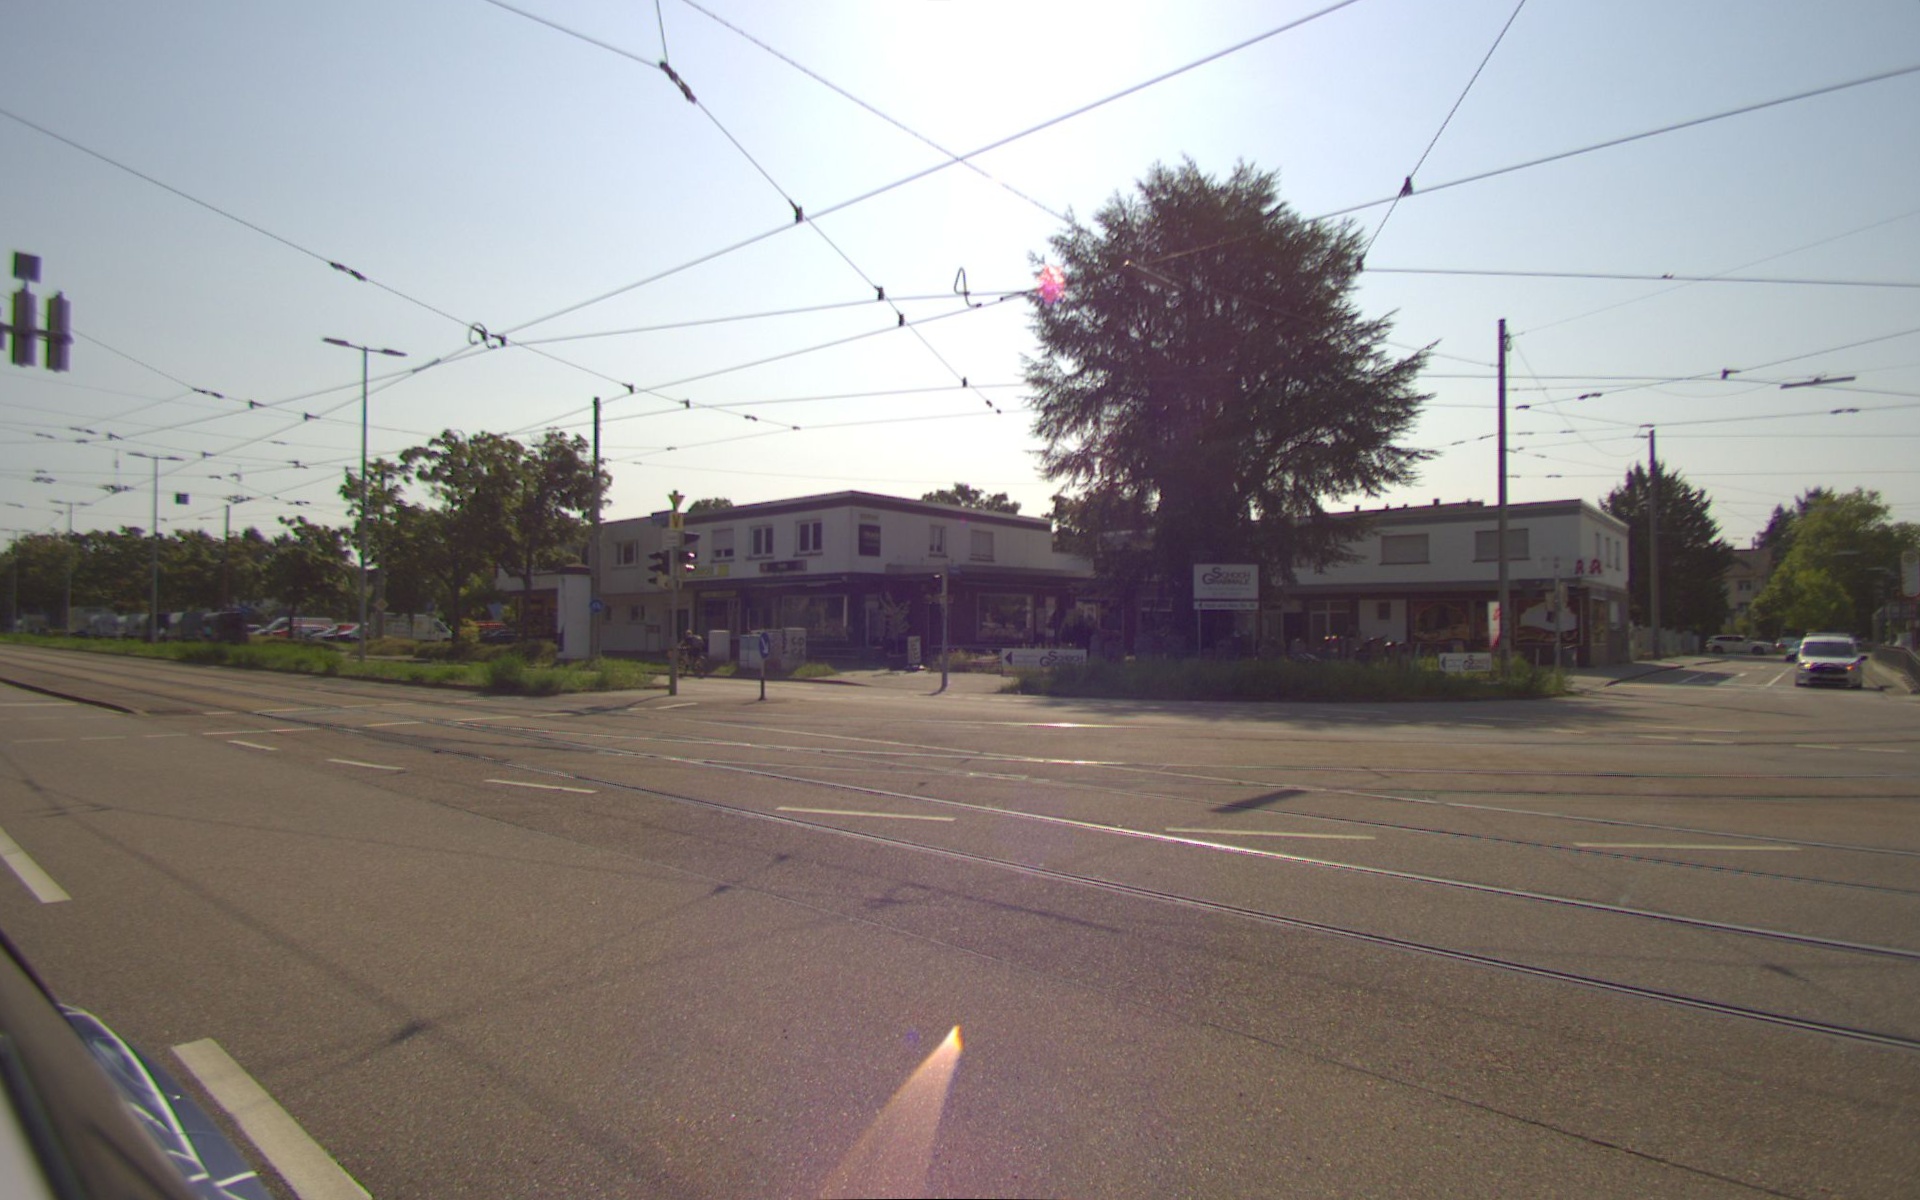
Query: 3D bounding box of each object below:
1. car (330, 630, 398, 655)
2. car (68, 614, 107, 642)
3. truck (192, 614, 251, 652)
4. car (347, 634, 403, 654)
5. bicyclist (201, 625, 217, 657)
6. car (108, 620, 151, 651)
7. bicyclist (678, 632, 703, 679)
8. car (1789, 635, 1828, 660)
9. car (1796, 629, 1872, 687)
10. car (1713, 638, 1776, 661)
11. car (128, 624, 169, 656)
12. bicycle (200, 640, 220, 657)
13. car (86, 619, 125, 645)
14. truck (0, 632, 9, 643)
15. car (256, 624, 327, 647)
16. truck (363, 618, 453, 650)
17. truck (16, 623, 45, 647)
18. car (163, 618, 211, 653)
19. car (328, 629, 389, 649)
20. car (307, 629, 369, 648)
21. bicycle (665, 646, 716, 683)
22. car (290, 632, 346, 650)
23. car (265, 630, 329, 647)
[{"bbox_3d":[-47.589,3.409,80.901,1.632,1.798,4.353,-1,-4,40],"label":"car"},{"bbox_3d":[-93.142,3.032,107.966,7.229,2.827,2.102,-1,-5,42],"label":"car"},{"bbox_3d":[-52.440,2.338,71.817,5.736,2.567,2.059,-1,-4,41],"label":"truck"},{"bbox_3d":[-45.449,3.405,78.720,1.632,1.437,3.370,-1,-4,40],"label":"car"},{"bbox_3d":[-49.091,2.690,66.166,0.630,2.080,0.775,5,-5,-43],"label":"bicyclist"},{"bbox_3d":[-75.315,3.216,91.745,5.629,2.606,2.109,-1,-5,42],"label":"car"},{"bbox_3d":[-9.025,1.853,33.870,0.490,1.534,0.562,-2,-5,43],"label":"bicyclist"},{"bbox_3d":[56.975,3.184,67.936,1.727,1.519,3.942,-2,-5,44],"label":"car"},{"bbox_3d":[30.381,1.950,35.161,1.823,1.901,3.969,-2,-3,43],"label":"car"},{"bbox_3d":[64.297,4.031,82.945,3.998,1.785,1.973,-1,-4,41],"label":"car"},{"bbox_3d":[-69.159,3.415,86.206,5.909,2.606,1.802,-2,-2,43],"label":"car"},{"bbox_3d":[-48.902,3.170,65.966,0.706,1.099,2.267,5,-5,-44],"label":"bicycle"},{"bbox_3d":[-85.862,3.251,101.660,4.828,2.477,2.121,-1,-4,40],"label":"car"},{"bbox_3d":[-148.332,5.831,156.383,3.654,1.687,1.669,-1,-5,42],"label":"truck"},{"bbox_3d":[-63.129,3.359,95.638,2.051,1.940,5.132,-1,-4,40],"label":"car"},{"bbox_3d":[-41.515,2.596,76.197,2.258,2.189,5.434,-1,-4,40],"label":"truck"},{"bbox_3d":[-125.410,4.728,136.479,8.789,3.145,2.247,-2,-5,44],"label":"truck"},{"bbox_3d":[-59.846,2.738,78.310,6.467,2.606,1.966,-2,-2,44],"label":"car"},{"bbox_3d":[-49.216,3.185,82.859,1.632,1.530,3.883,-1,-4,40],"label":"car"},{"bbox_3d":[-52.506,3.244,85.468,1.624,1.474,4.113,-2,-4,41],"label":"car"},{"bbox_3d":[-9.032,2.162,33.858,2.208,1.189,0.568,-4,-6,43],"label":"bicycle"},{"bbox_3d":[-57.103,3.636,90.024,1.632,1.461,3.883,-1,-4,40],"label":"car"},{"bbox_3d":[-61.072,3.554,93.304,1.632,1.461,4.606,-1,-4,40],"label":"car"}]
